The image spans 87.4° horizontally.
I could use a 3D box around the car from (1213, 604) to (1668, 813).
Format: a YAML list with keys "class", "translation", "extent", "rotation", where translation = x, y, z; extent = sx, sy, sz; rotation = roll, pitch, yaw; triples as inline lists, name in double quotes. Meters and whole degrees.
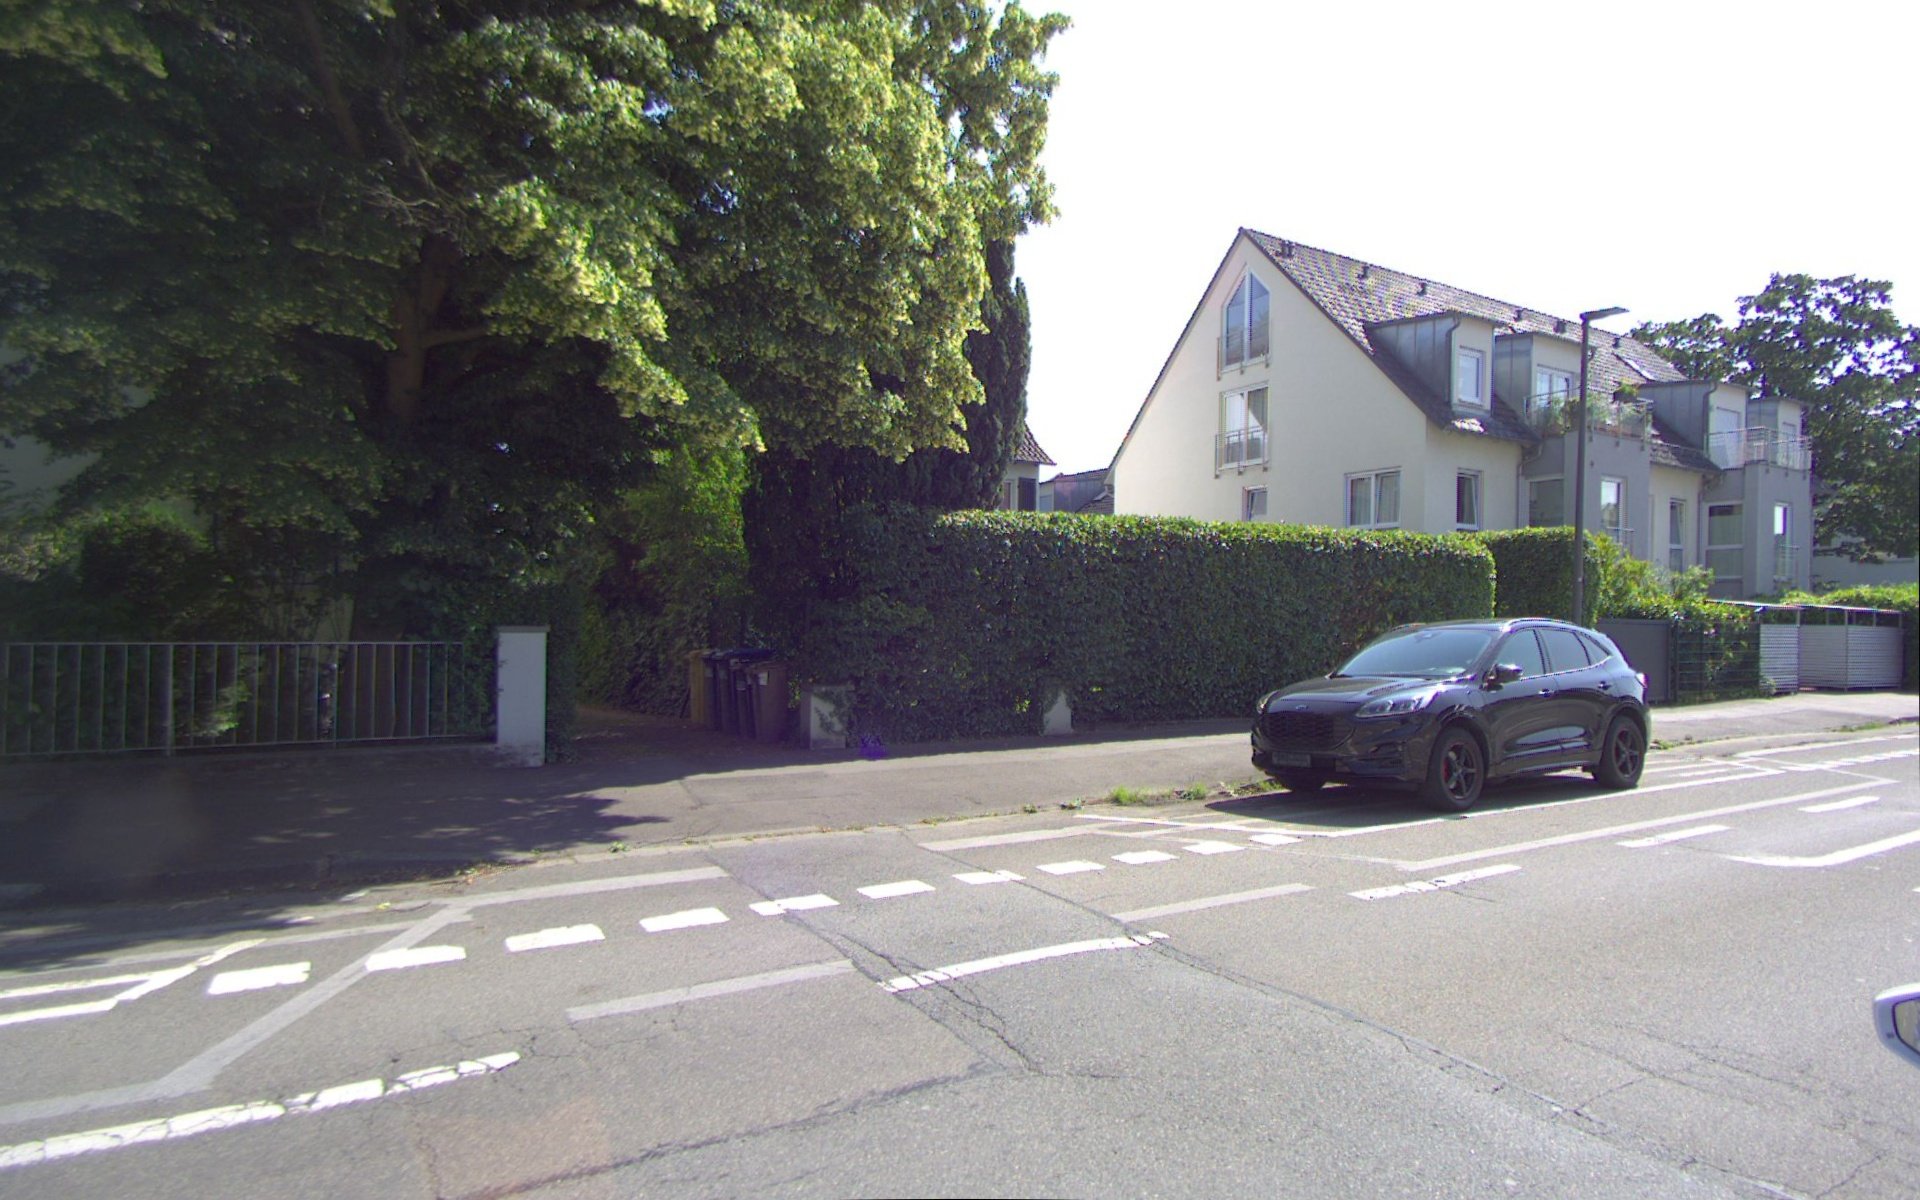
- class: "car"
  translation: [4.750, 0.944, 9.799]
  extent: [4.396, 1.632, 1.842]
  rotation: [2, -3, -30]

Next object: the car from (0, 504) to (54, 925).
- class: "car"
  translation: [-6.371, 0.457, 3.196]
  extent: [4.812, 1.944, 1.876]
  rotation: [2, -4, -31]
